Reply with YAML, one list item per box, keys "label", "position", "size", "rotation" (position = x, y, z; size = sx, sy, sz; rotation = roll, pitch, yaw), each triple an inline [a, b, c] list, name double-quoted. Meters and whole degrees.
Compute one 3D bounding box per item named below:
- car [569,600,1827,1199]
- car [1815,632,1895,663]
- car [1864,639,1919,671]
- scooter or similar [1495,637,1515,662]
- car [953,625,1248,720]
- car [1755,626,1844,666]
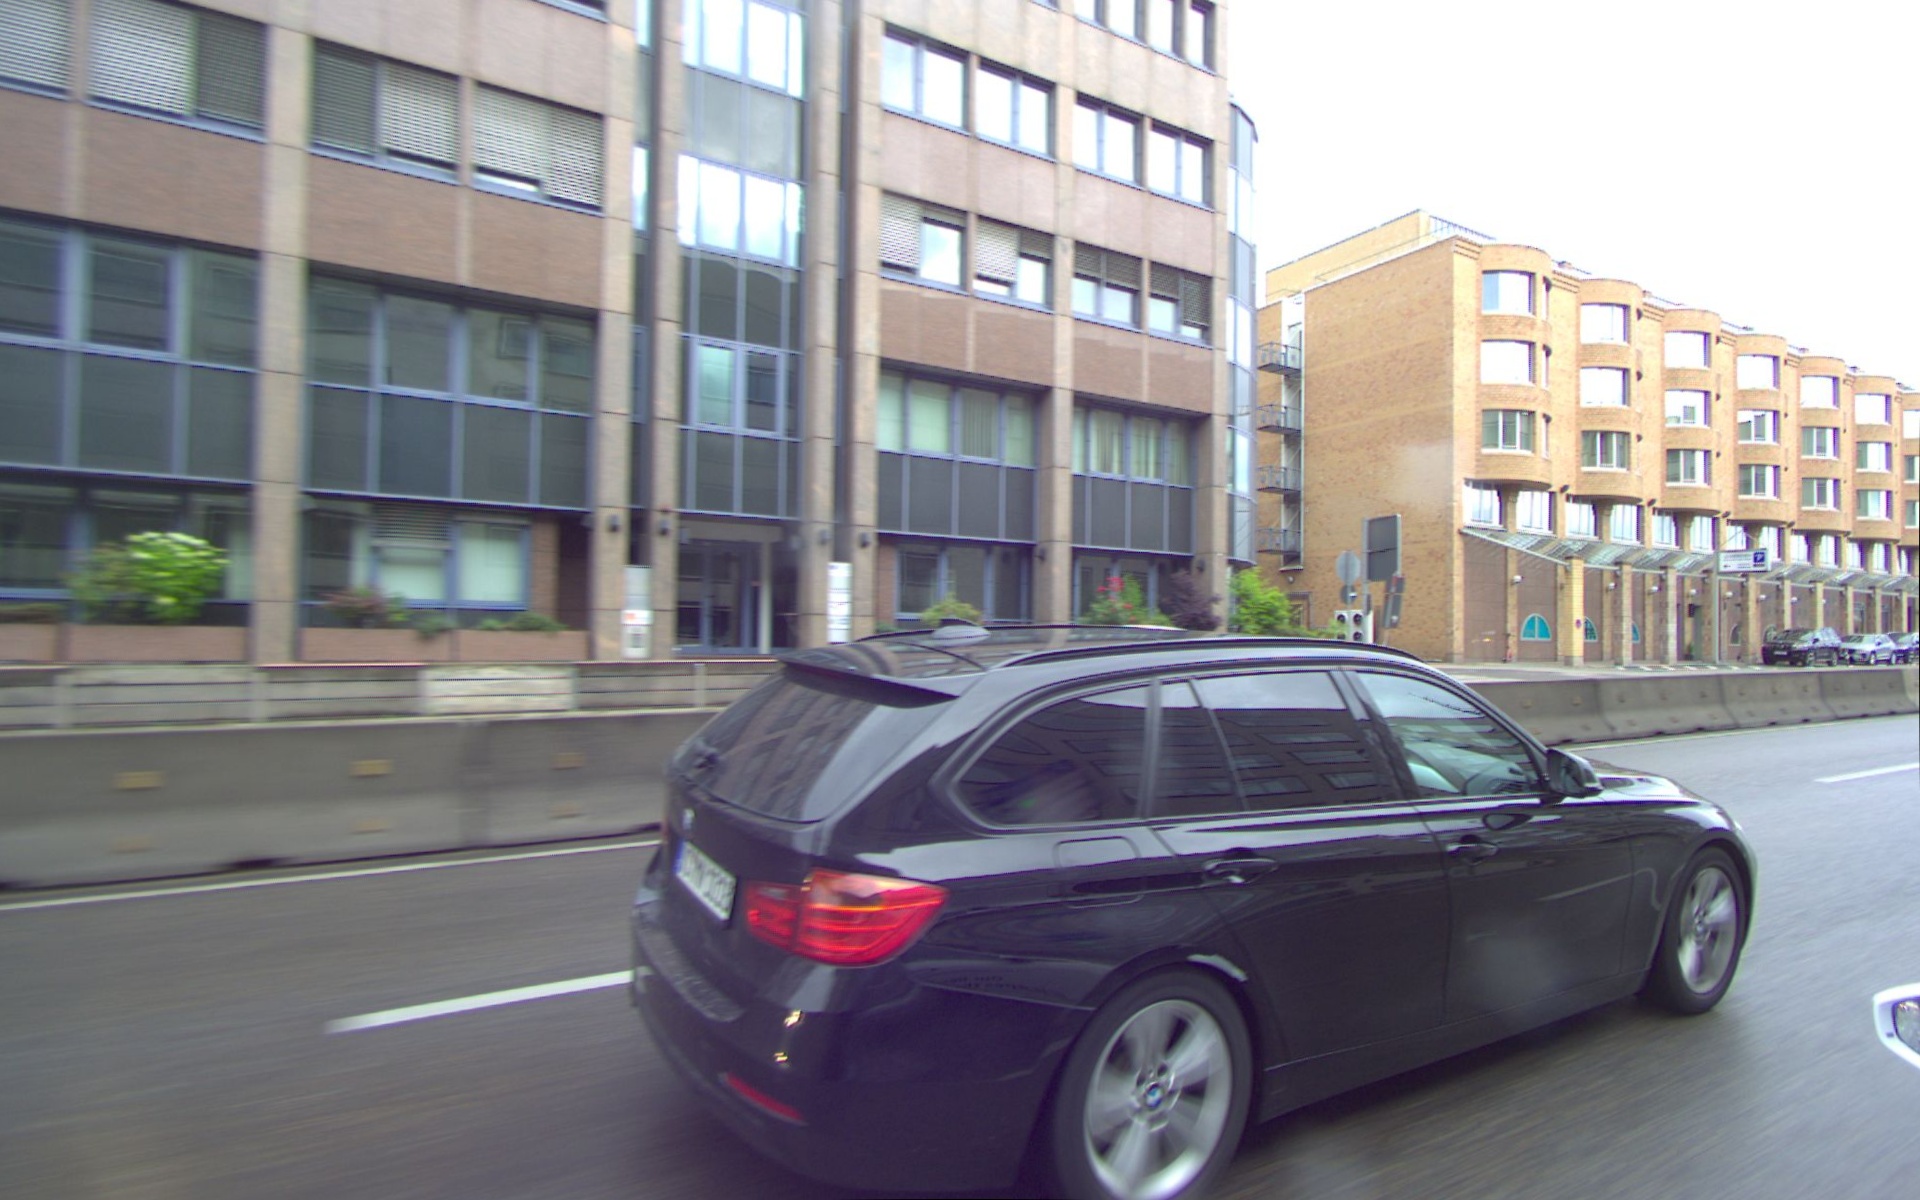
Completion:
- label: "car"
  position: [1.147, 0.792, 3.697]
  size: [4.603, 1.462, 1.759]
  rotation: [1, -2, -31]
- label: "car"
  position: [47.944, 2.503, 53.792]
  size: [4.489, 1.615, 1.983]
  rotation: [1, -2, -32]
- label: "car"
  position: [52.949, 3.051, 56.508]
  size: [4.997, 1.713, 1.982]
  rotation: [1, -2, -34]
- label: "scooter or similar"
  position: [23.822, 2.138, 43.915]
  size: [1.037, 1.077, 0.445]
  rotation: [2, -2, -41]
- label: "car"
  position: [2.260, 1.054, 15.713]
  size: [4.500, 1.286, 1.834]
  rotation: [1, -2, -33]
- label: "car"
  position: [42.157, 2.286, 50.422]
  size: [4.958, 1.911, 1.983]
  rotation: [1, -2, -32]
